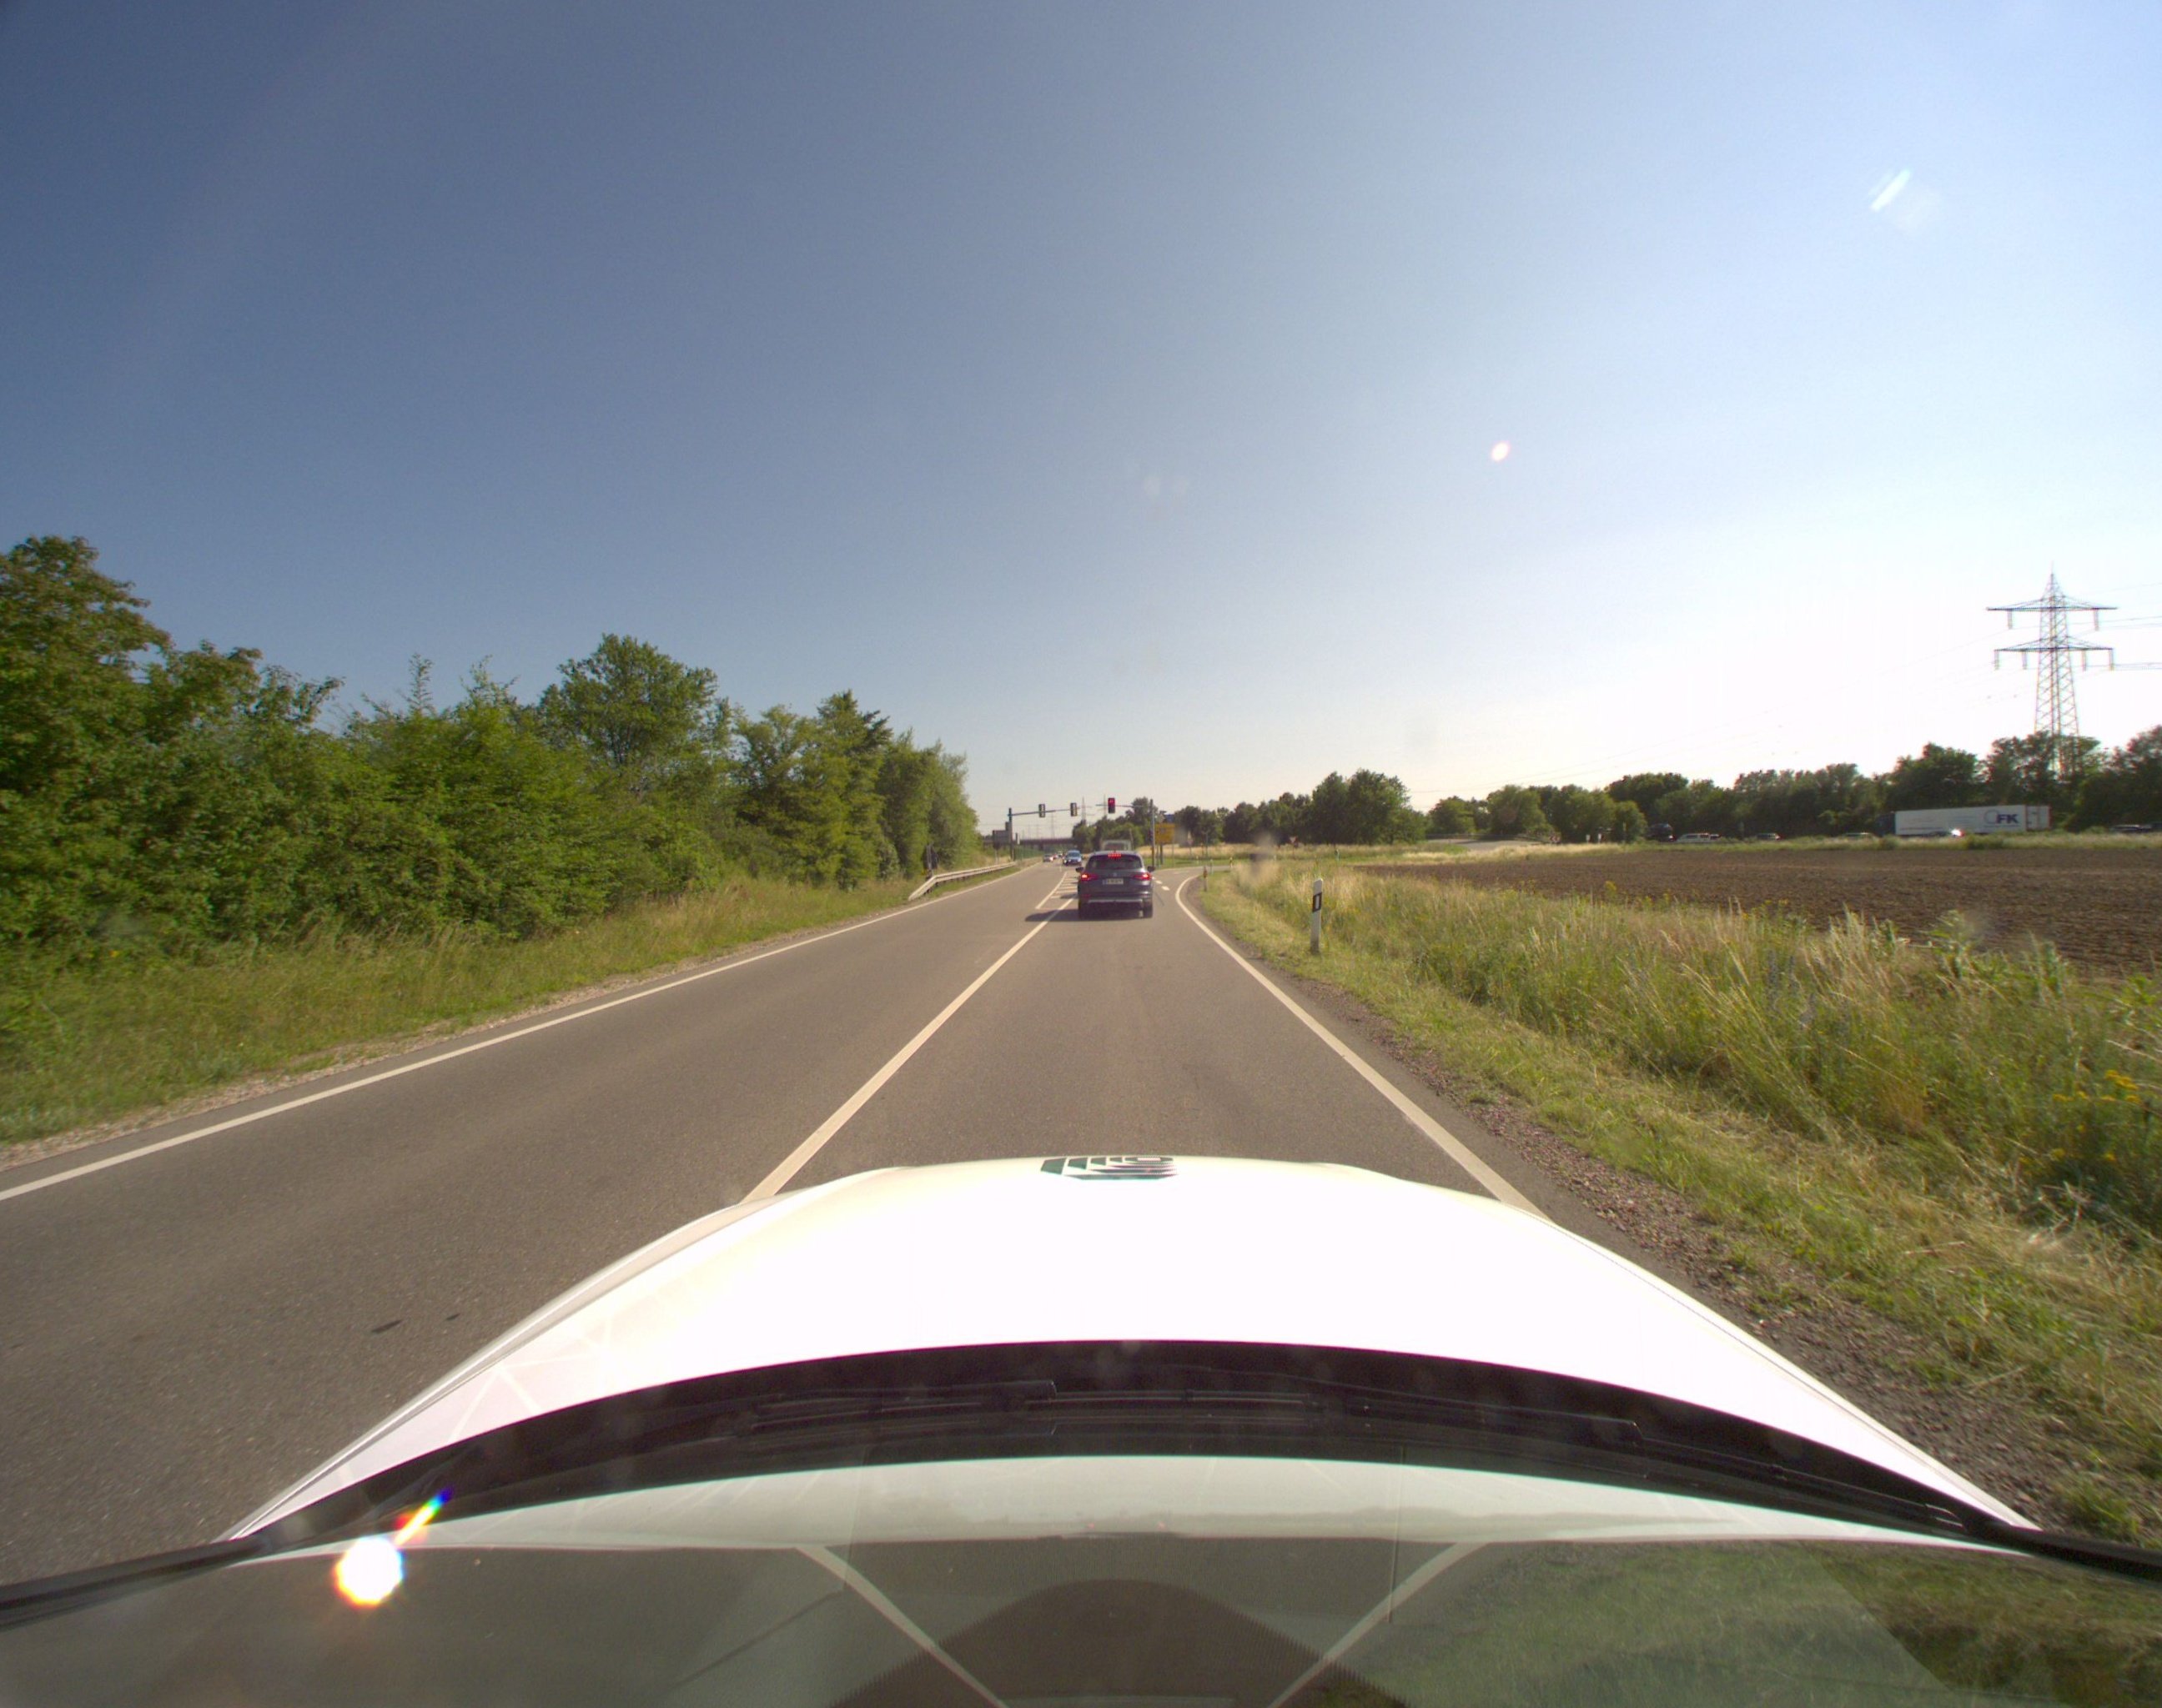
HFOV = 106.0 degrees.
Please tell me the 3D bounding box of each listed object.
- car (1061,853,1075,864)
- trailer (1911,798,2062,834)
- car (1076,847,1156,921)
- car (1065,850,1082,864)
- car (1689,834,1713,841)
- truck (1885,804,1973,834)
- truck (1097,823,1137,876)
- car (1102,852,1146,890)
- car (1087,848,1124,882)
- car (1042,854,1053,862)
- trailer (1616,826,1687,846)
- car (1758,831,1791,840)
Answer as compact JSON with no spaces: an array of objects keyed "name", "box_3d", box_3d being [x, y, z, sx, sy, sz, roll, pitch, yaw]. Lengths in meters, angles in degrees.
[{"name":"car","box_3d":[-1.704,0.558,106.988,1.680,1.380,3.530,-1,0,-2]},{"name":"trailer","box_3d":[102.202,-4.173,92.435,3.274,3.267,12.455,-2,0,0]},{"name":"car","box_3d":[0.832,0.673,20.537,1.779,1.629,4.001,-1,0,1]},{"name":"car","box_3d":[-0.848,0.314,94.599,1.812,1.540,3.996,-2,0,-3]},{"name":"car","box_3d":[94.363,-2.500,123.950,1.390,1.151,3.182,0,1,1]},{"name":"truck","box_3d":[102.181,-4.174,98.349,3.274,3.267,6.978,-2,0,0]},{"name":"truck","box_3d":[2.219,-0.263,50.565,2.328,3.066,5.812,-1,0,2]},{"name":"car","box_3d":[1.851,0.703,35.948,1.779,1.543,4.001,-1,0,1]},{"name":"car","box_3d":[1.269,0.522,43.031,1.779,1.675,4.001,-1,0,1]},{"name":"car","box_3d":[-5.889,0.664,141.875,1.820,1.431,3.996,-2,0,-3]},{"name":"trailer","box_3d":[101.477,-3.115,145.210,3.274,3.267,13.452,-2,1,0]},{"name":"car","box_3d":[94.439,-2.455,110.916,1.390,1.151,3.580,0,1,-1]}]
